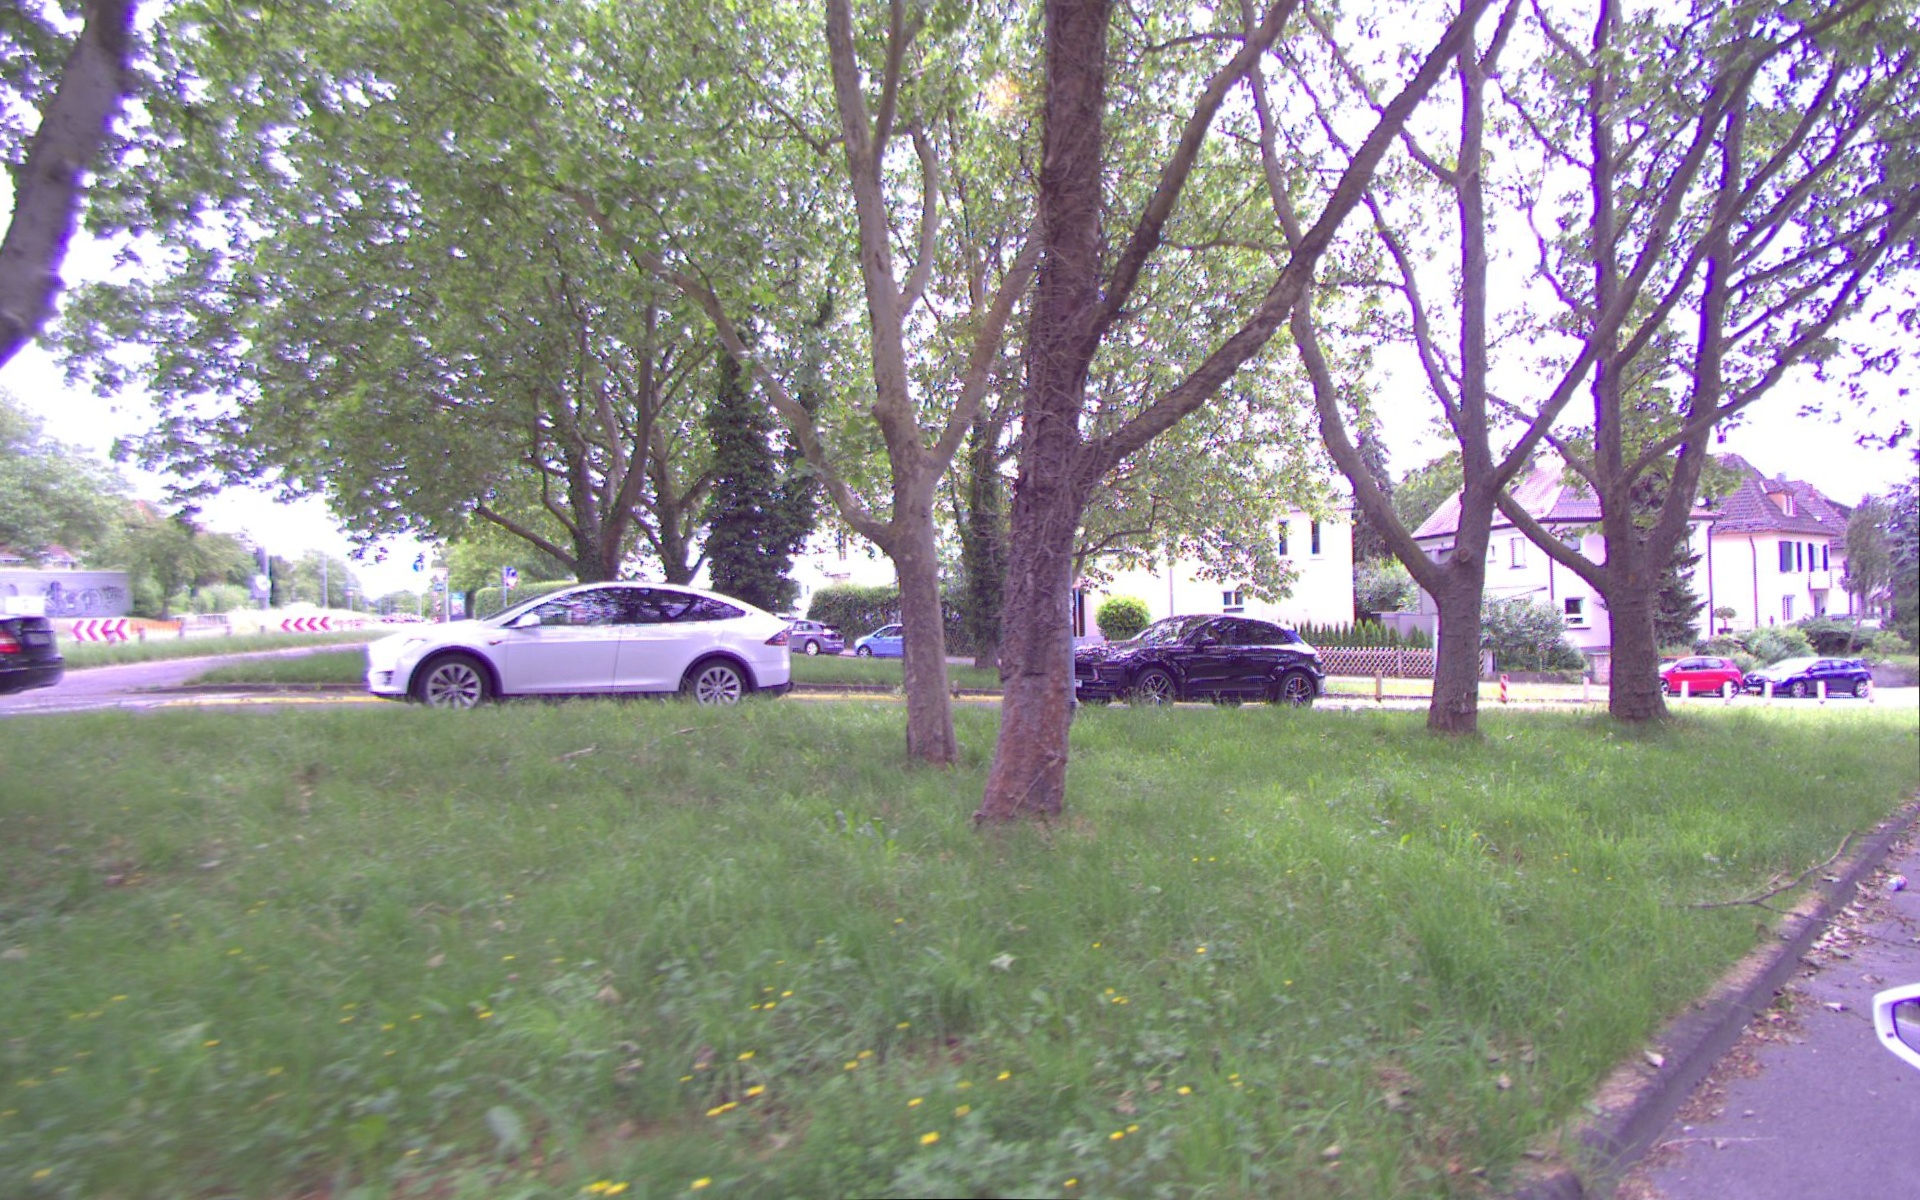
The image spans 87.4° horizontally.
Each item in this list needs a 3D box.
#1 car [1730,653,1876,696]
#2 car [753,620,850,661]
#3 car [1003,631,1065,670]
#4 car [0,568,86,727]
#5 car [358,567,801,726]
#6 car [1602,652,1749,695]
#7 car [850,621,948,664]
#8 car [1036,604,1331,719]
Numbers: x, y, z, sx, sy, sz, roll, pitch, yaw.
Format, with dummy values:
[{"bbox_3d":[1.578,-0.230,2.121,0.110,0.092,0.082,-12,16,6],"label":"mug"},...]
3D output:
[{"bbox_3d":[30.992,2.722,36.972,4.235,1.493,1.731,1,-2,-8],"label":"car"},{"bbox_3d":[-6.972,1.733,44.171,3.920,1.534,1.660,2,2,24],"label":"car"},{"bbox_3d":[3.374,2.268,45.214,1.840,1.568,3.379,-2,-1,22],"label":"car"},{"bbox_3d":[-11.536,0.421,9.671,4.327,1.537,1.752,2,-1,-25],"label":"car"},{"bbox_3d":[-4.602,0.475,12.617,4.839,1.680,1.846,-1,0,-25],"label":"car"},{"bbox_3d":[26.154,2.674,36.796,4.196,1.493,1.732,0,-2,-3],"label":"car"},{"bbox_3d":[-2.578,1.762,42.380,3.704,1.576,1.783,2,2,21],"label":"car"},{"bbox_3d":[3.660,0.908,16.358,4.549,1.612,1.752,-1,0,-25],"label":"car"}]
